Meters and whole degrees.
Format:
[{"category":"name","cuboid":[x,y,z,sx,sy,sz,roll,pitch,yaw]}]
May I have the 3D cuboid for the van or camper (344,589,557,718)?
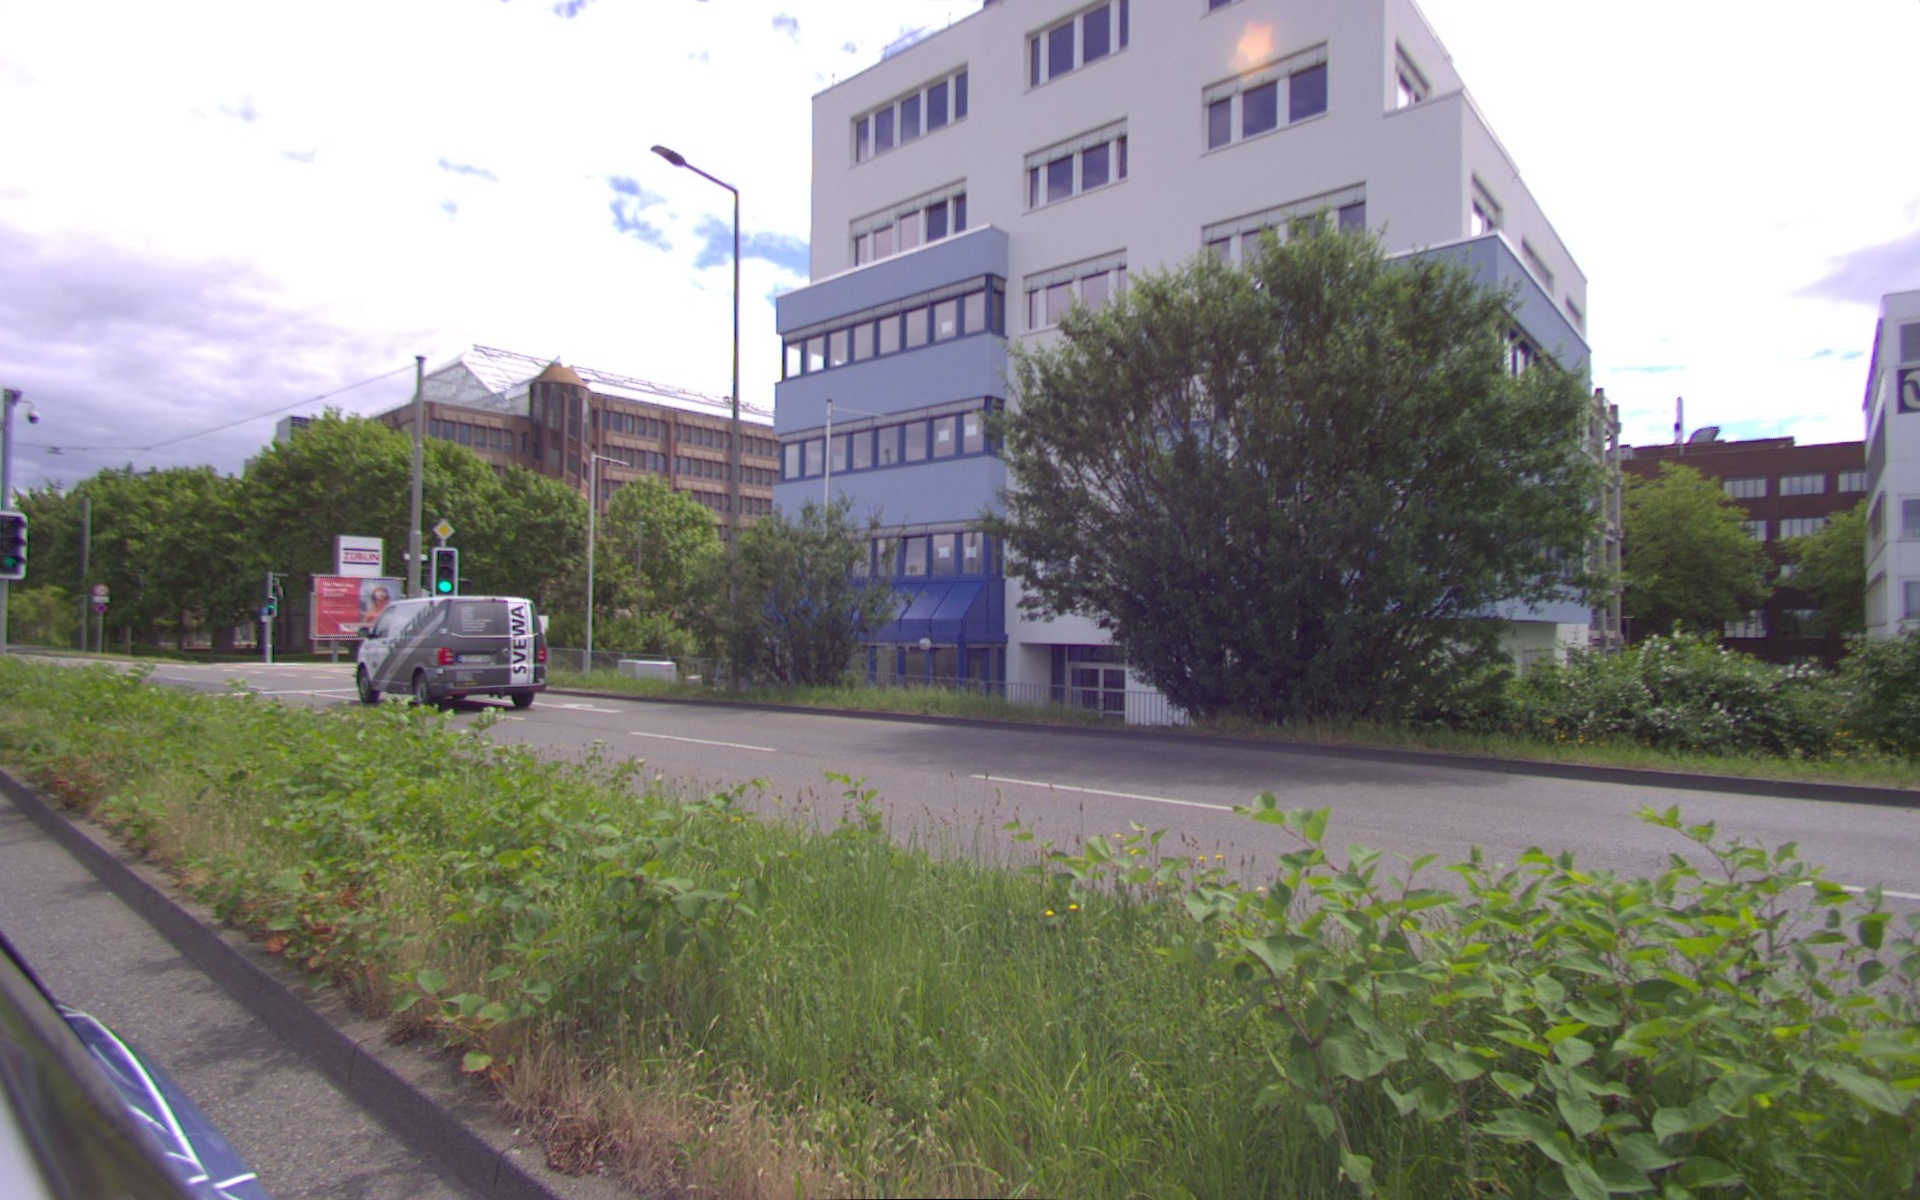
[{"category":"van or camper","cuboid":[-9.342,0.903,18.365,4.817,2.029,1.971,-1,-2,44]}]
